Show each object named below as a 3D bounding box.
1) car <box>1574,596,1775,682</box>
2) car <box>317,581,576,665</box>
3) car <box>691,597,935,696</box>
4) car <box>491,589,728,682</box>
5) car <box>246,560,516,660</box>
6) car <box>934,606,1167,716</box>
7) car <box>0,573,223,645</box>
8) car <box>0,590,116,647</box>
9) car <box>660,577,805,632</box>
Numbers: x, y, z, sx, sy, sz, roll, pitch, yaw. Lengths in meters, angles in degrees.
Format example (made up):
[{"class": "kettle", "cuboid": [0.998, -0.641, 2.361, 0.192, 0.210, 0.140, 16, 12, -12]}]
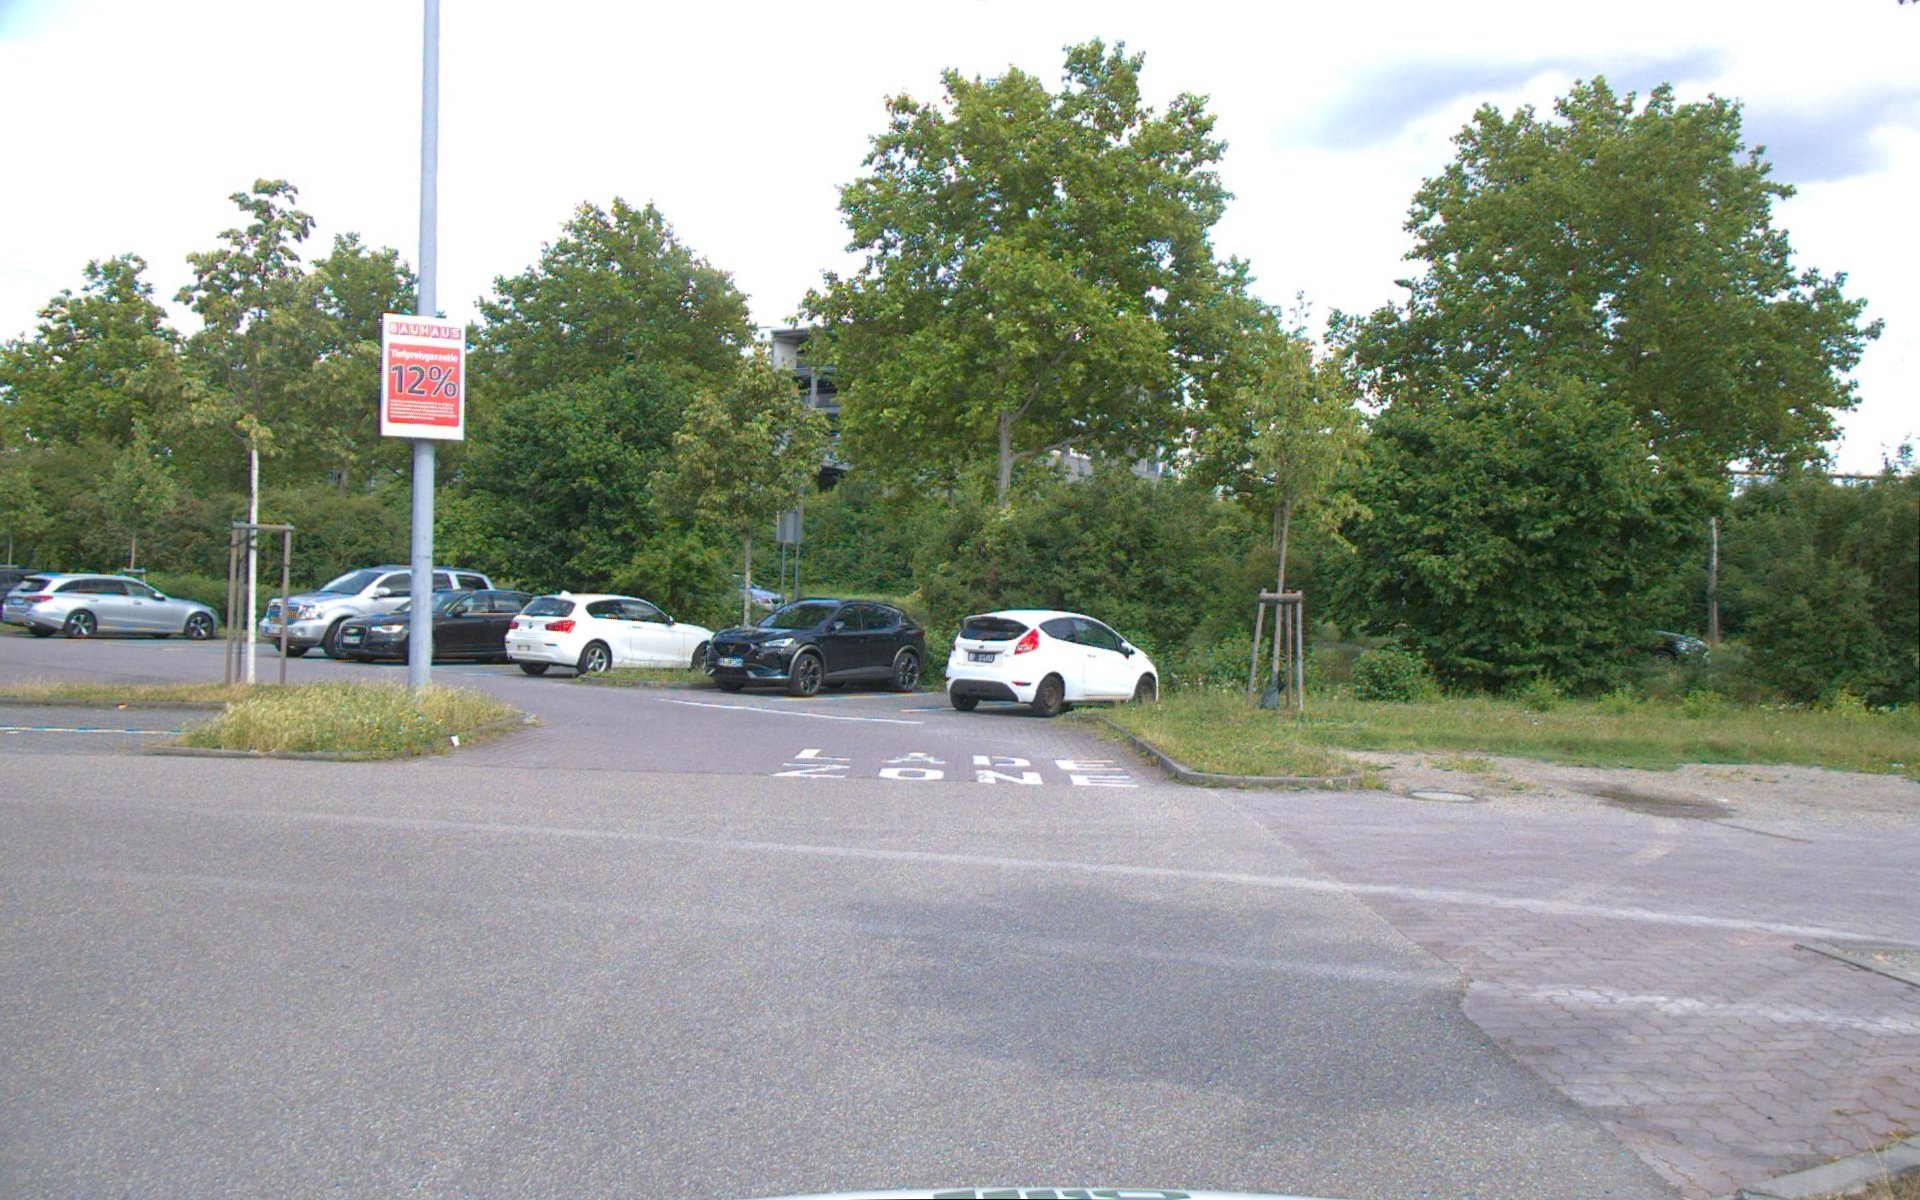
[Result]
[{"class": "car", "cuboid": [16.239, 0.847, 37.635, 3.916, 1.745, 1.995, 2, 0, 33]}, {"class": "car", "cuboid": [-9.943, 0.440, 32.377, 1.802, 1.476, 4.708, 2, 0, 35]}, {"class": "car", "cuboid": [-2.328, 0.729, 27.241, 1.698, 1.435, 4.229, 2, 0, 34]}, {"class": "car", "cuboid": [-6.177, 0.617, 29.538, 1.657, 1.536, 4.065, 1, 0, 37]}, {"class": "car", "cuboid": [-11.784, 0.207, 34.039, 1.949, 1.875, 5.133, 2, 0, 33]}, {"class": "car", "cuboid": [1.389, 0.848, 24.191, 1.639, 1.436, 3.540, 2, 0, 38]}, {"class": "car", "cuboid": [-19.802, 0.218, 38.472, 1.748, 1.531, 4.640, 2, 0, 33]}, {"class": "car", "cuboid": [-23.636, 0.471, 41.612, 1.663, 1.405, 3.989, -1, -1, 32]}, {"class": "car", "cuboid": [-7.500, 0.140, 54.346, 4.641, 1.617, 1.744, 2, 0, 31]}]
